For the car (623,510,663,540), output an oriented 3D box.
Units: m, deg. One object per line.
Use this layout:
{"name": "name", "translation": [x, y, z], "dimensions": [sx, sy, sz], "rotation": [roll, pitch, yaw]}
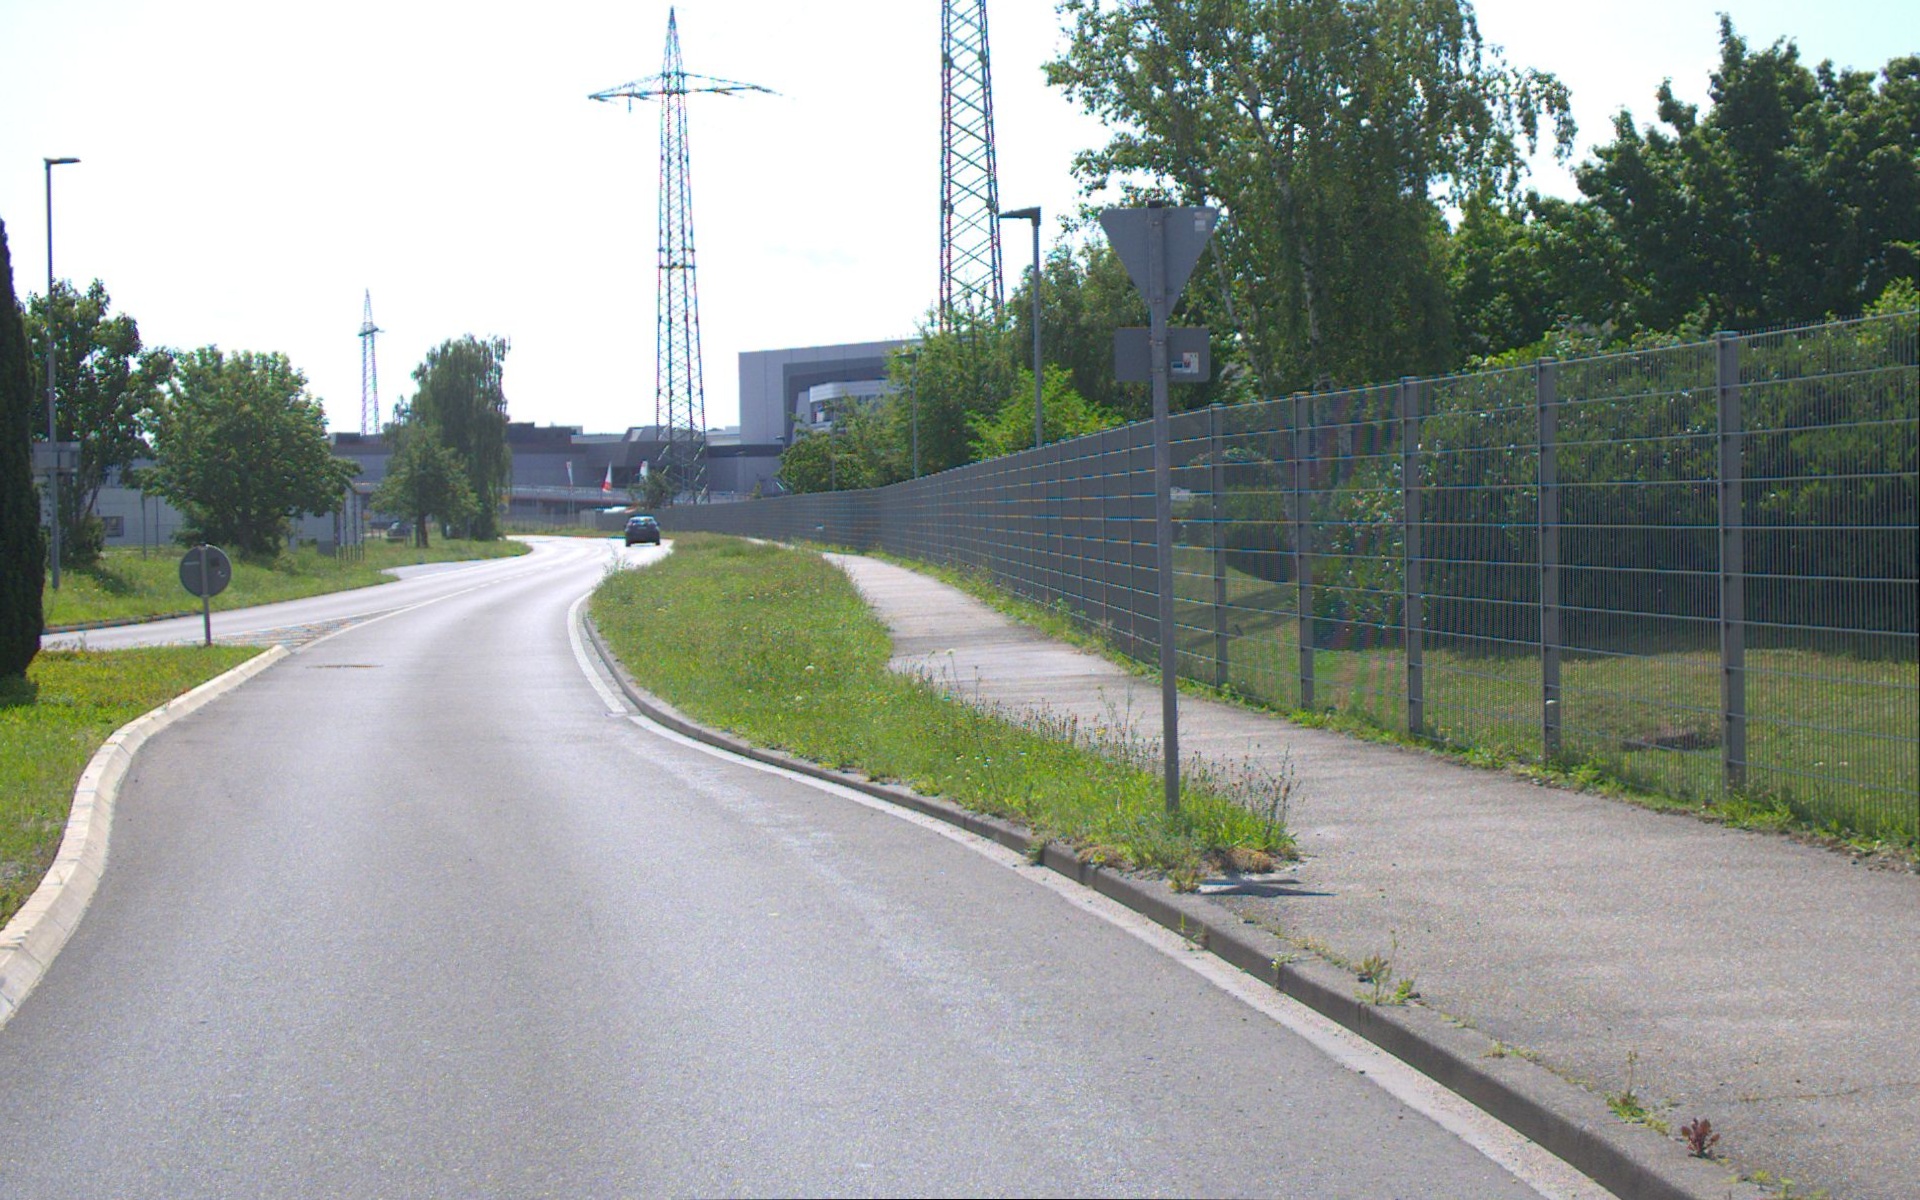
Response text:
{"name": "car", "translation": [-16.691, -3.936, 180.970], "dimensions": [2.011, 1.503, 4.001], "rotation": [-1, 1, -7]}
